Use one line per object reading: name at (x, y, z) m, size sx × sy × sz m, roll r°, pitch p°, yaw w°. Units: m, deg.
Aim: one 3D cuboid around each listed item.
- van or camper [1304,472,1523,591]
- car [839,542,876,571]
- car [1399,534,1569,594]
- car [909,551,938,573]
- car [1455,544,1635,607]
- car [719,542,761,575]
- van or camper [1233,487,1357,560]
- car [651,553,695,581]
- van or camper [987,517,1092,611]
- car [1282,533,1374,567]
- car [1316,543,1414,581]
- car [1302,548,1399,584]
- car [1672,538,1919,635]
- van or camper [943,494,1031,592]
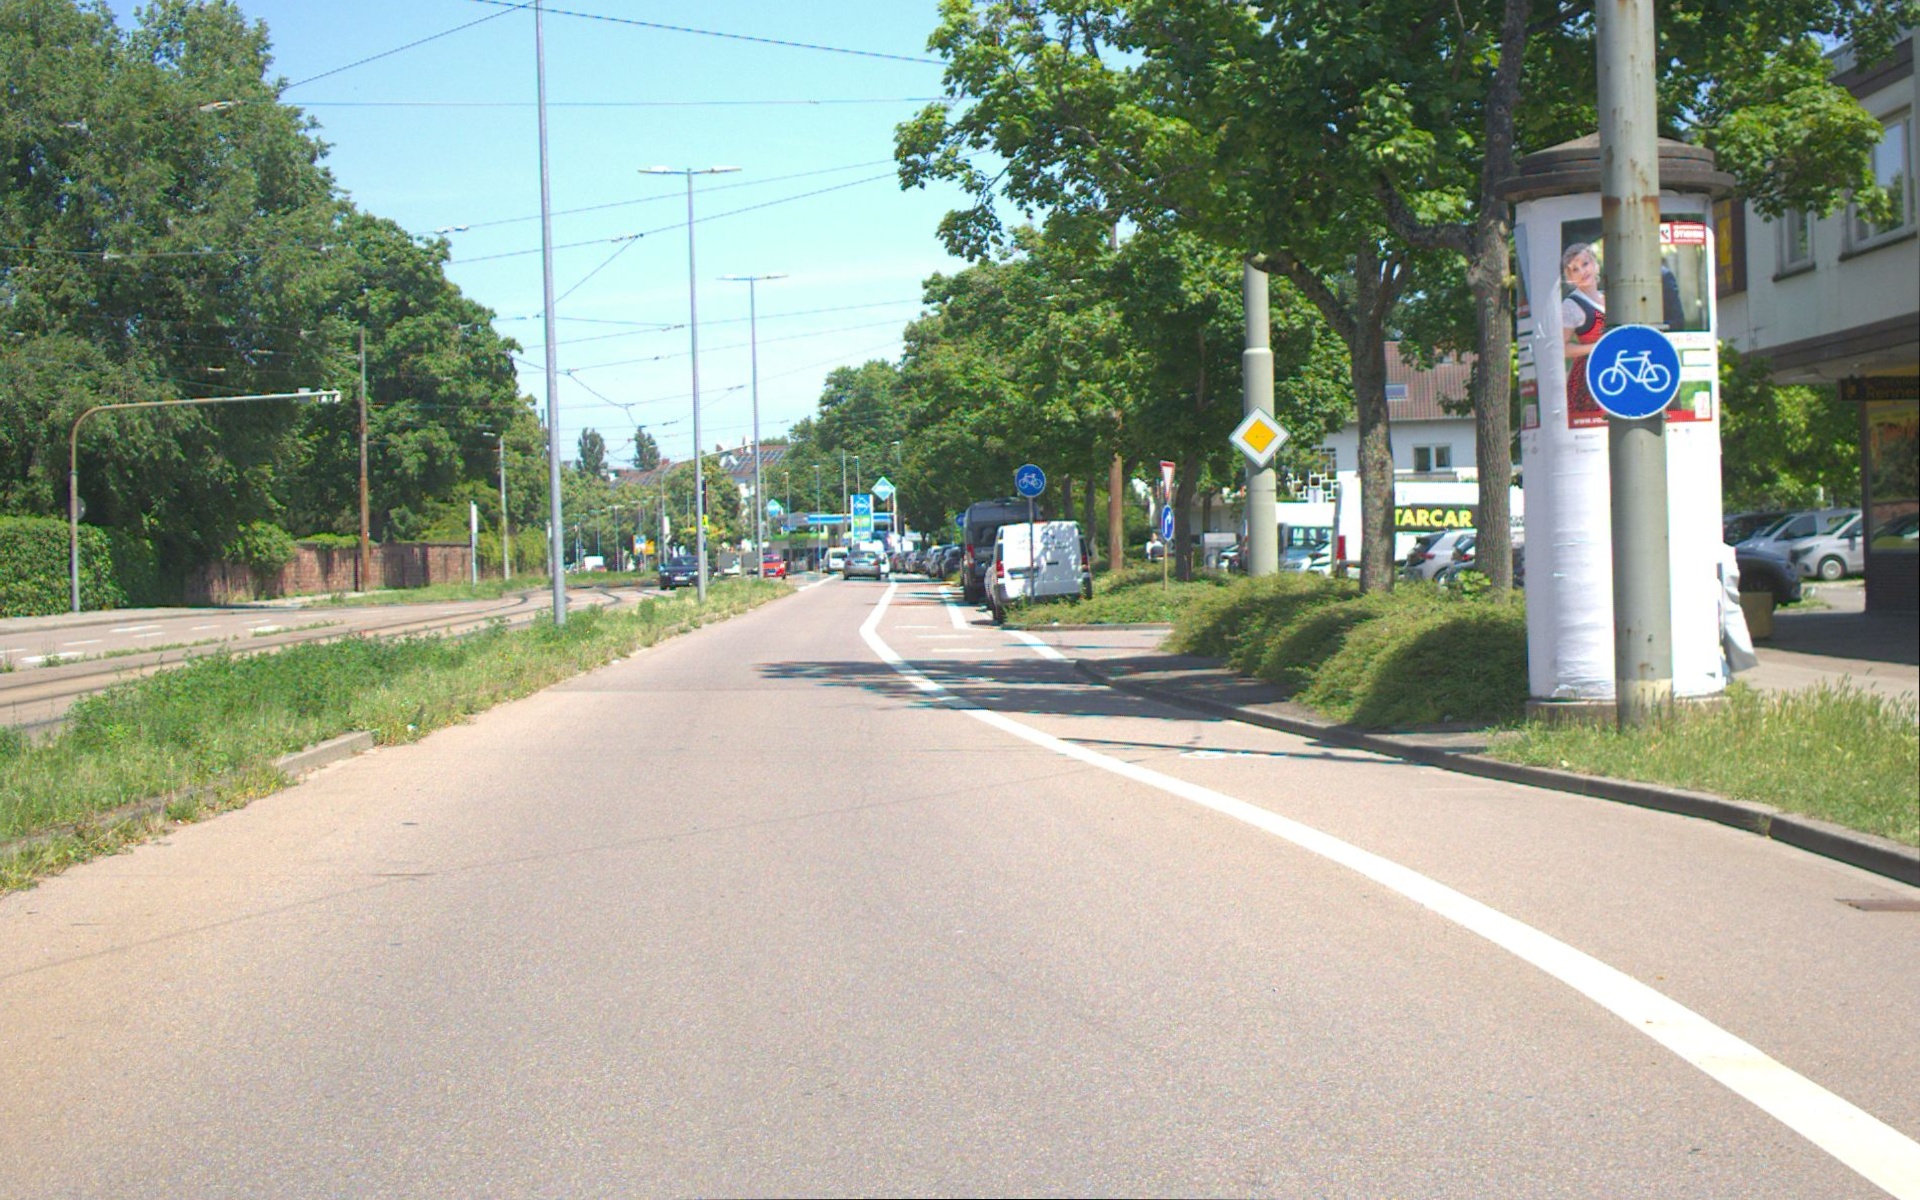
van or camper at (10.615, -1.608, 80.770) m, size 4.756 × 2.662 × 2.136 m, roll -1°, pitch 1°, yaw -2°
car at (-4.931, -2.096, 164.496) m, size 1.636 × 1.346 × 3.842 m, roll -1°, pitch 1°, yaw -3°
car at (11.376, -0.783, 74.756) m, size 3.543 × 1.218 × 1.476 m, roll -1°, pitch 0°, yaw 5°
car at (-2.175, -2.242, 202.770) m, size 1.523 × 1.292 × 3.493 m, roll -1°, pitch 1°, yaw -3°
car at (12.130, -0.513, 71.363) m, size 3.543 × 1.218 × 1.476 m, roll -1°, pitch 1°, yaw 5°
car at (-7.381, -1.387, 115.265) m, size 1.291 × 1.051 × 2.601 m, roll -1°, pitch 1°, yaw -6°
van or camper at (10.239, -2.325, 105.129) m, size 3.557 × 2.138 × 1.603 m, roll -1°, pitch 1°, yaw -2°
car at (-11.340, -1.294, 135.843) m, size 1.492 × 1.043 × 3.580 m, roll -1°, pitch 1°, yaw -1°
van or camper at (1.544, -0.725, 67.690) m, size 1.922 × 1.766 × 4.000 m, roll -1°, pitch 1°, yaw 0°
car at (10.875, -1.486, 101.757) m, size 2.587 × 0.959 × 1.149 m, roll -1°, pitch 1°, yaw 1°
car at (11.037, -1.035, 93.748) m, size 2.588 × 0.959 × 1.149 m, roll -1°, pitch 1°, yaw 5°
car at (10.965, -0.947, 96.522) m, size 2.587 × 0.959 × 1.149 m, roll -1°, pitch 1°, yaw 1°
car at (12.780, -0.217, 52.071) m, size 3.606 × 1.346 × 1.491 m, roll -2°, pitch 1°, yaw -7°
van or camper at (0.688, -1.492, 90.130) m, size 1.993 × 2.456 × 4.001 m, roll -1°, pitch 1°, yaw -3°
